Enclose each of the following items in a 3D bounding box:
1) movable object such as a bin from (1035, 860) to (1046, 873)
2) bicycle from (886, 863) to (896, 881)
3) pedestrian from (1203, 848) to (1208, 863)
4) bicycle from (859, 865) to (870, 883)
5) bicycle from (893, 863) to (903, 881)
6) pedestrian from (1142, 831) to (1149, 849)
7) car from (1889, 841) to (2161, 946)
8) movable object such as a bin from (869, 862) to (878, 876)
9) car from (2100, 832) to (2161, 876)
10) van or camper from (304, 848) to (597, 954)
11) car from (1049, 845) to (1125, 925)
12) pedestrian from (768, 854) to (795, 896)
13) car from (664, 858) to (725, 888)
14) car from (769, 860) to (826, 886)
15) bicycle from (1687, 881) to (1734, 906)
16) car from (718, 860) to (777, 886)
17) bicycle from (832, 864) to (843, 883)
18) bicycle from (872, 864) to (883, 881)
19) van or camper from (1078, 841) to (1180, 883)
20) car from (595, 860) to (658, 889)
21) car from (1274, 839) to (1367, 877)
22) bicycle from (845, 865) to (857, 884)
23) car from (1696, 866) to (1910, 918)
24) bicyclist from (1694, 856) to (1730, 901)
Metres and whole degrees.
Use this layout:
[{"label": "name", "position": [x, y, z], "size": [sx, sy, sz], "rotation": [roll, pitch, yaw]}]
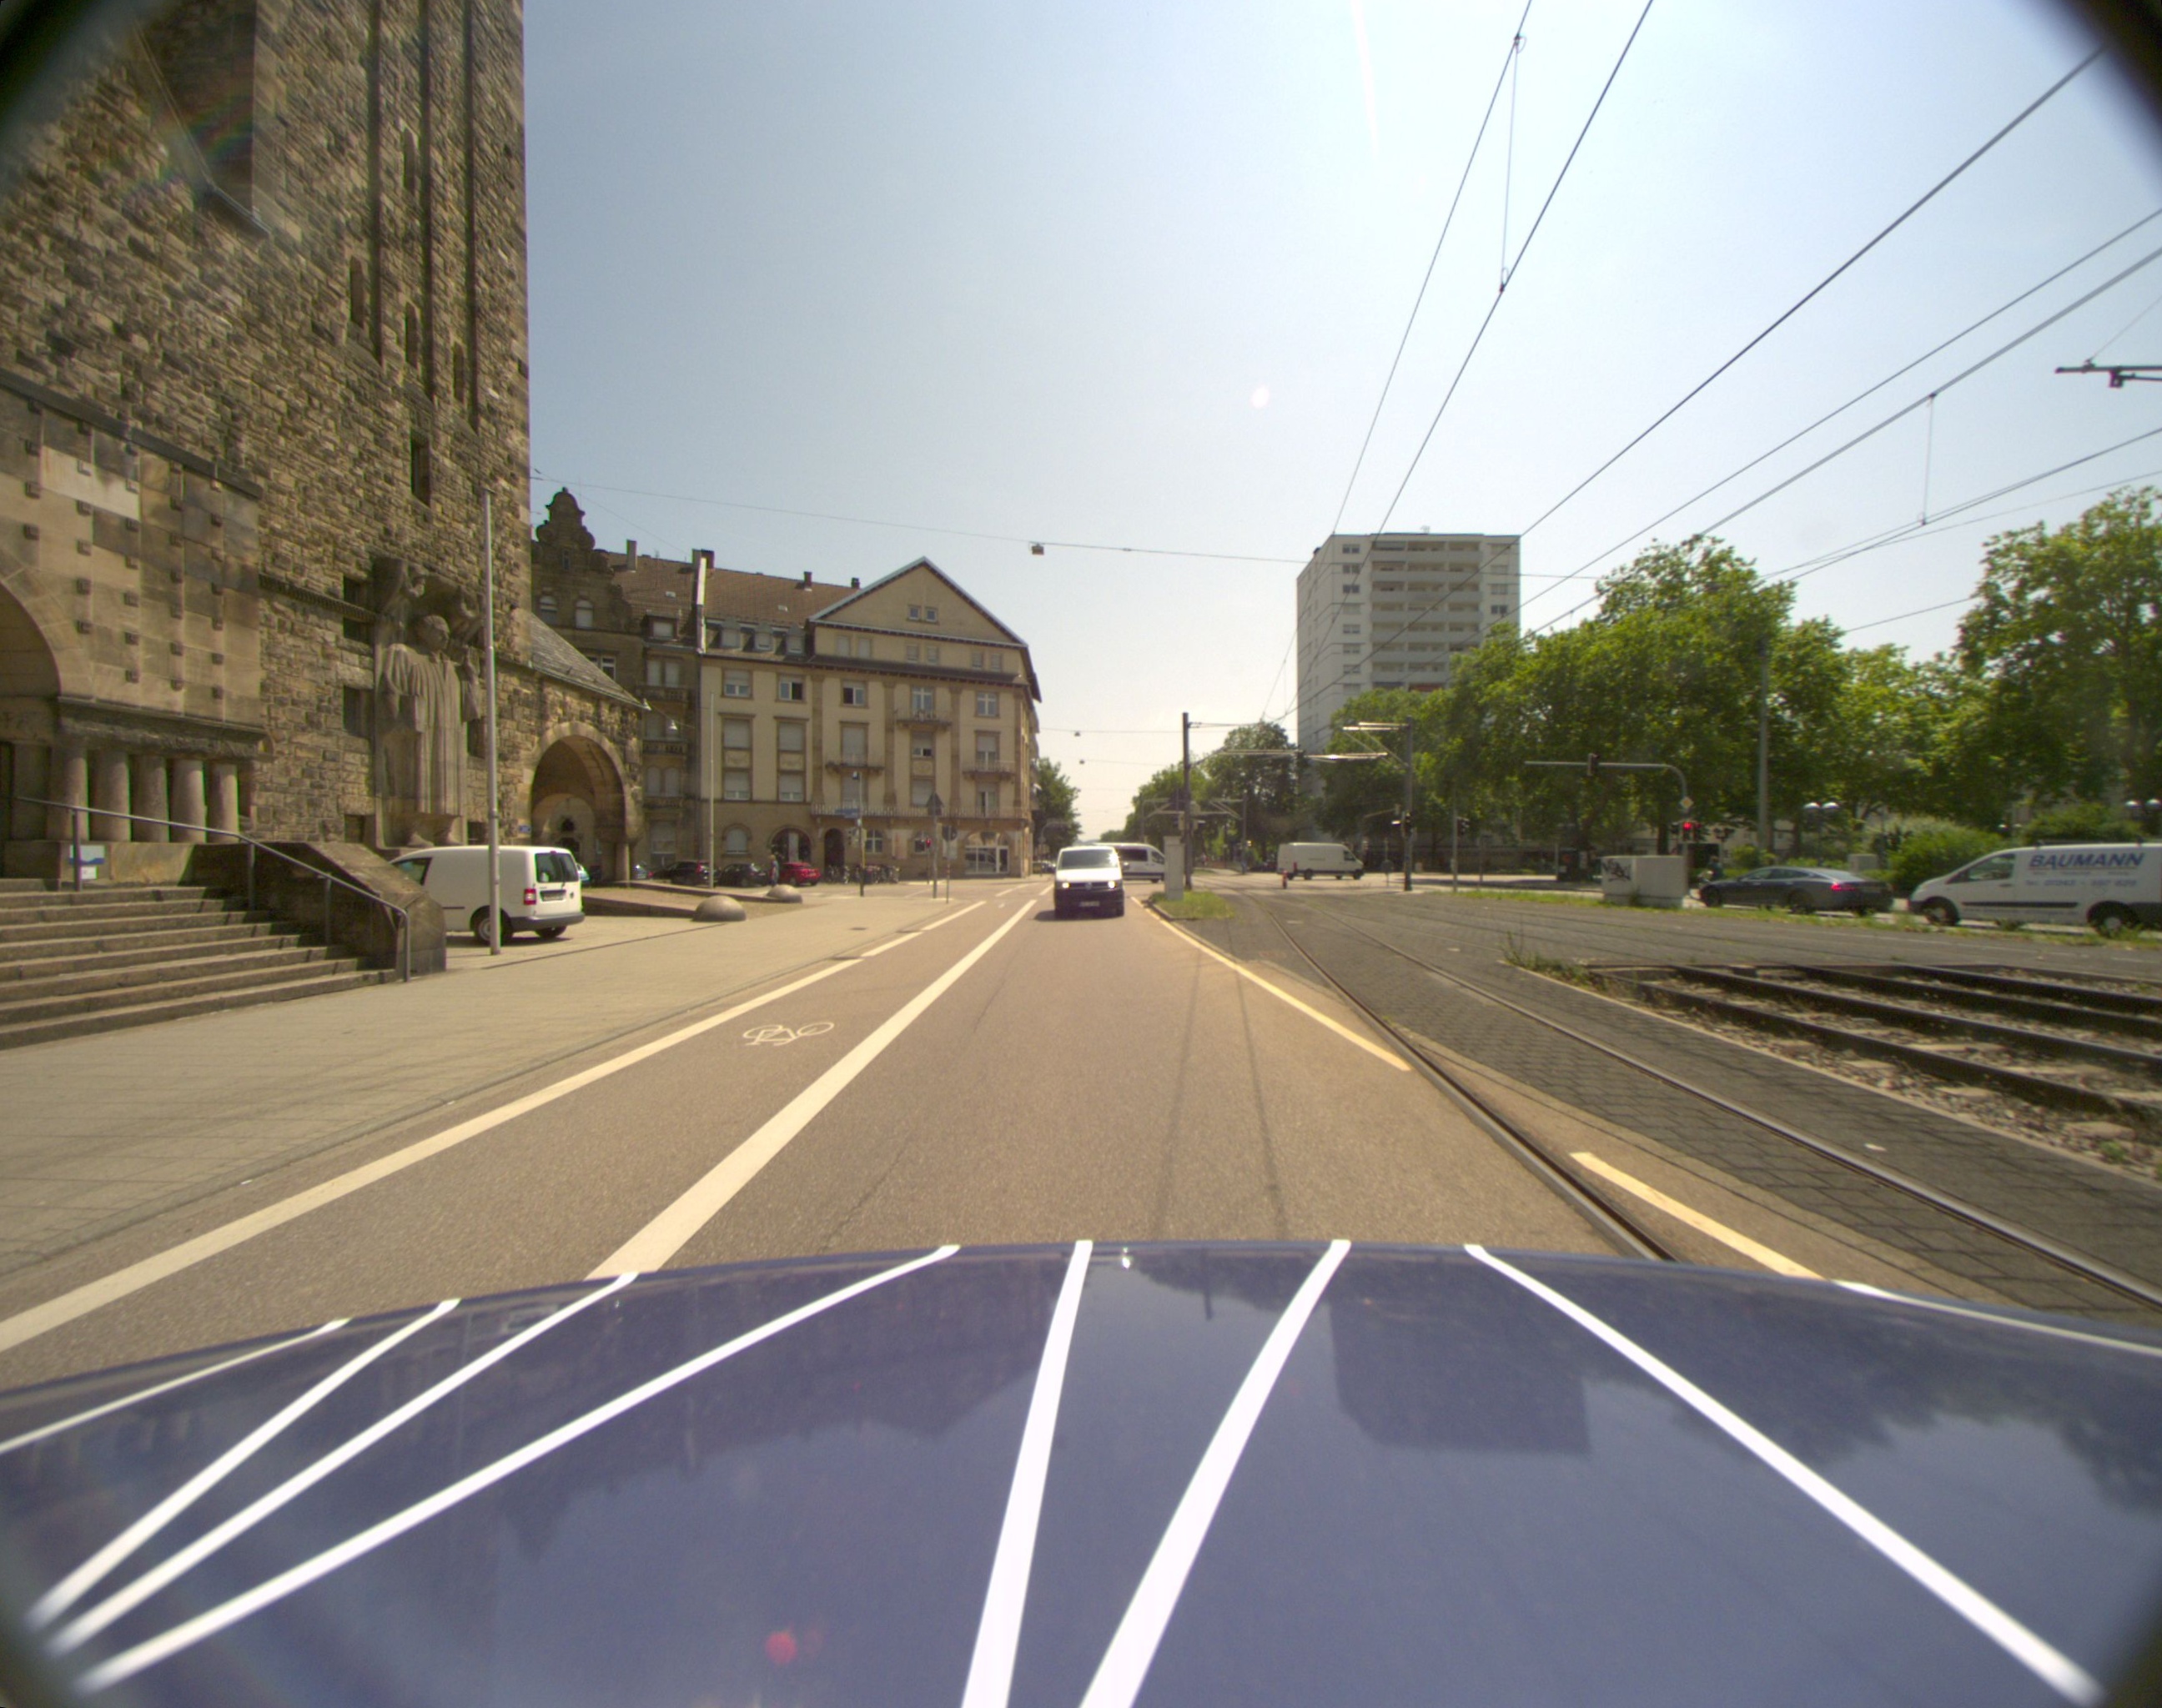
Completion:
[{"label": "movable object such as a bin", "position": [-4.526, 1.397, 85.125], "size": [1.214, 1.428, 1.008], "rotation": [-1, 1, -4]}, {"label": "bicycle", "position": [-13.245, 1.254, 53.016], "size": [0.565, 1.145, 1.803], "rotation": [-1, 2, -11]}, {"label": "pedestrian", "position": [15.010, 0.185, 91.587], "size": [0.510, 1.701, 0.554], "rotation": [-1, 1, 1]}, {"label": "bicycle", "position": [-14.846, 1.367, 52.114], "size": [0.565, 1.145, 1.803], "rotation": [-1, 2, -11]}, {"label": "bicycle", "position": [-12.422, 1.234, 51.665], "size": [0.565, 1.145, 2.058], "rotation": [-1, 2, -11]}, {"label": "pedestrian", "position": [6.222, -1.378, 73.465], "size": [0.679, 1.695, 0.554], "rotation": [-1, 1, 2]}, {"label": "car", "position": [21.228, 0.749, 16.680], "size": [1.781, 1.979, 4.804], "rotation": [0, 0, -1]}, {"label": "movable object such as a bin", "position": [-15.094, 1.069, 55.248], "size": [0.591, 0.989, 0.582], "rotation": [-1, 1, -16]}, {"label": "car", "position": [51.921, -0.020, 35.967], "size": [1.999, 2.071, 3.999], "rotation": [0, 1, 0]}, {"label": "van or camper", "position": [-11.776, 0.832, 14.412], "size": [3.997, 1.815, 1.802], "rotation": [1, 1, -1]}, {"label": "car", "position": [0.282, 0.760, 21.110], "size": [1.852, 1.942, 4.944], "rotation": [0, 0, 3]}, {"label": "pedestrian", "position": [-13.113, 0.895, 33.300], "size": [0.744, 1.812, 0.834], "rotation": [-1, 1, 7]}, {"label": "car", "position": [-23.542, 1.142, 46.288], "size": [3.218, 1.656, 1.619], "rotation": [1, 3, 26]}, {"label": "car", "position": [-18.152, 1.202, 48.648], "size": [3.218, 1.471, 1.619], "rotation": [1, 3, 26]}, {"label": "bicycle", "position": [23.987, 1.491, 28.974], "size": [0.497, 0.877, 1.482], "rotation": [-1, 0, -3]}, {"label": "car", "position": [-20.880, 1.169, 47.560], "size": [3.218, 1.471, 1.619], "rotation": [1, 3, 26]}, {"label": "bicycle", "position": [-16.073, 1.280, 50.116], "size": [0.566, 1.145, 1.802], "rotation": [-1, 2, -19]}, {"label": "bicycle", "position": [-14.085, 1.274, 52.625], "size": [0.565, 1.145, 1.803], "rotation": [-1, 2, -11]}, {"label": "van or camper", "position": [2.960, 0.476, 46.544], "size": [5.909, 2.447, 2.069], "rotation": [0, 0, -24]}, {"label": "car", "position": [-26.906, 1.184, 44.973], "size": [3.218, 1.566, 1.619], "rotation": [1, 3, 26]}, {"label": "car", "position": [17.056, 0.258, 53.931], "size": [6.642, 2.622, 2.073], "rotation": [-1, 1, -25]}, {"label": "bicycle", "position": [-15.492, 1.381, 51.231], "size": [0.565, 1.145, 1.803], "rotation": [-1, 2, -11]}, {"label": "car", "position": [21.269, 1.053, 22.714], "size": [1.952, 1.351, 4.628], "rotation": [0, 0, -1]}, {"label": "bicyclist", "position": [23.982, 0.923, 28.892], "size": [0.640, 1.676, 0.868], "rotation": [-1, 1, -3]}]
